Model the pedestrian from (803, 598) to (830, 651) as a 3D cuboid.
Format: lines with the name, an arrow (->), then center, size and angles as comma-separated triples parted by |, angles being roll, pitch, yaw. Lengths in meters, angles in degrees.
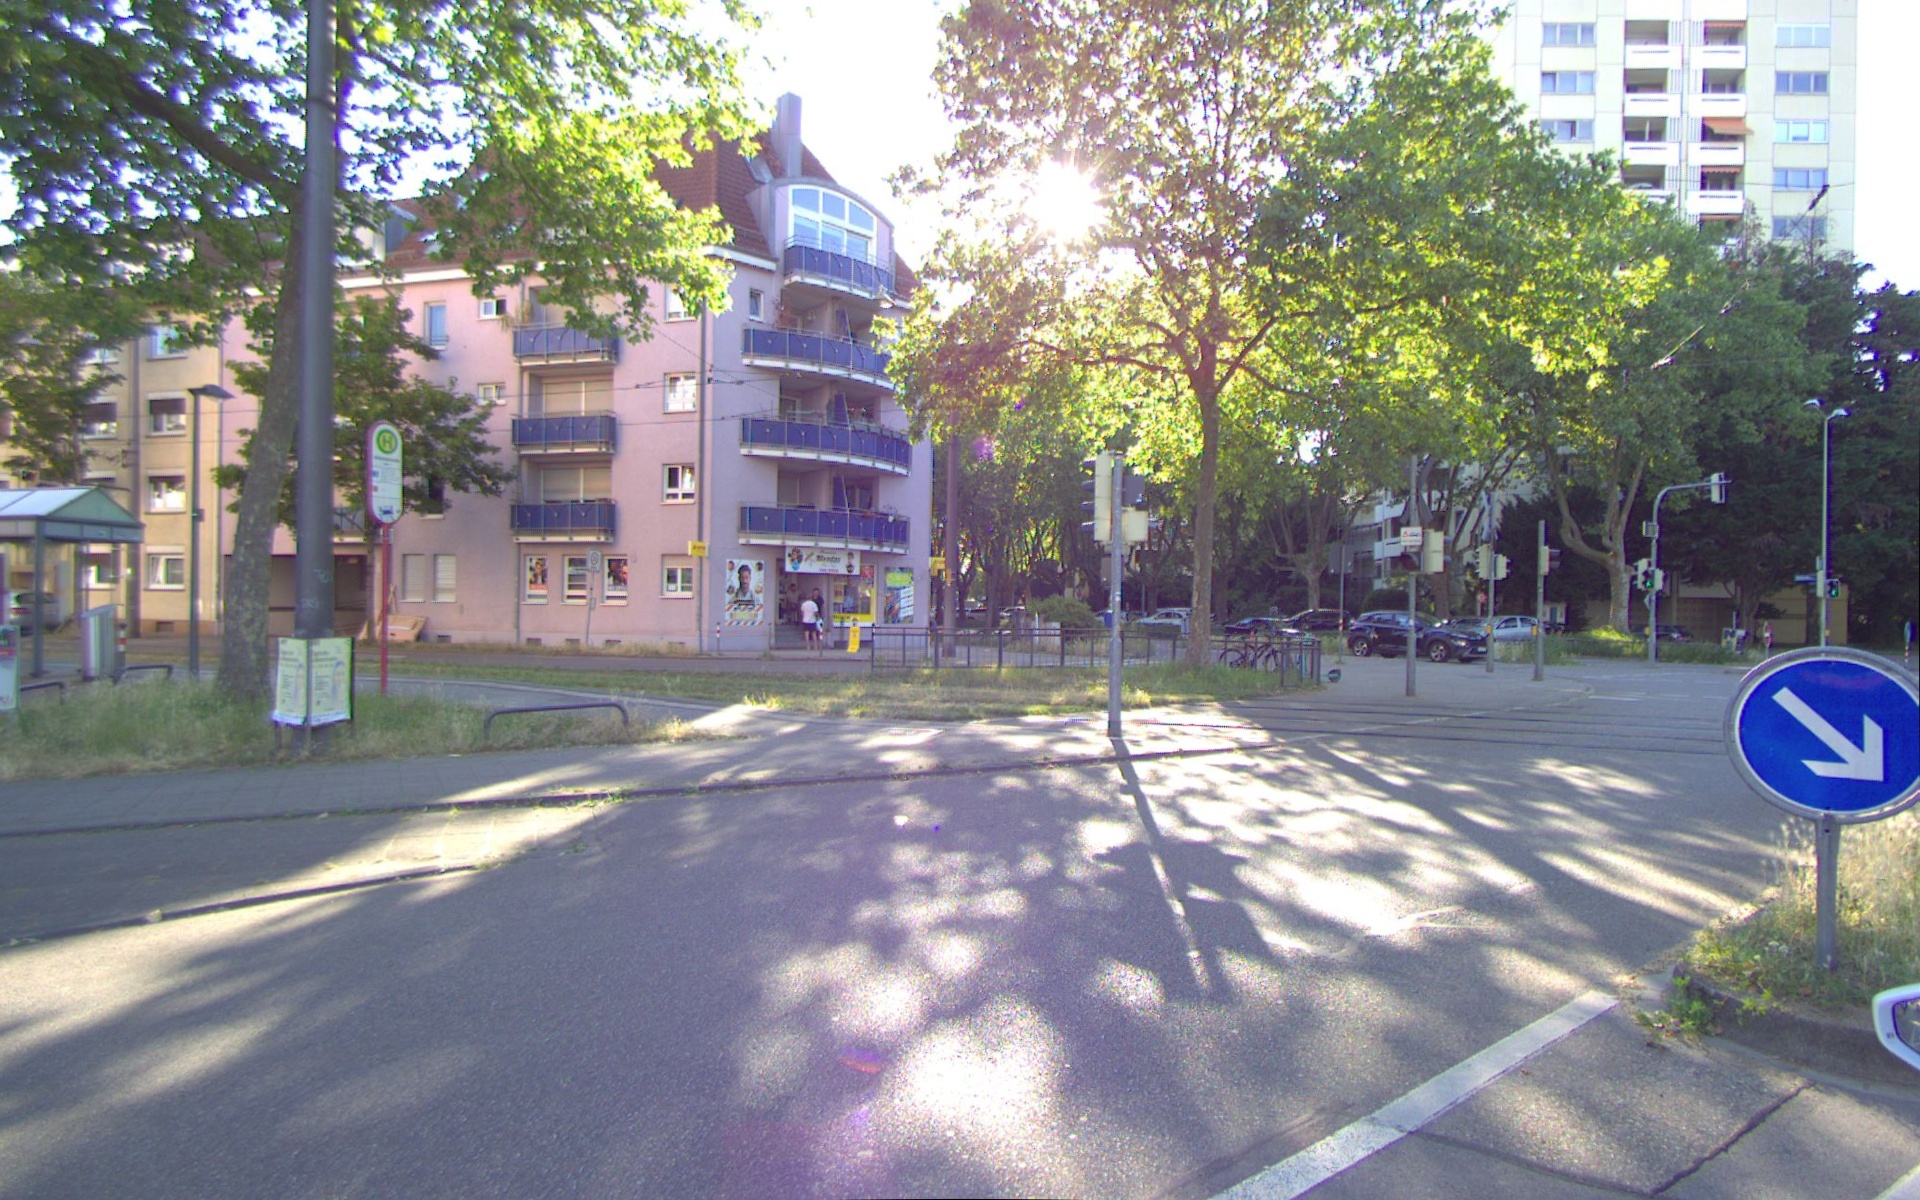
pedestrian -> -4.666, 0.784, 32.661 | 0.610, 1.689, 0.549 | 2, 0, 38

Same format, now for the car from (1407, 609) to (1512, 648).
car -> 22.843, 1.298, 46.030 | 3.921, 1.617, 1.738 | 2, 0, 0

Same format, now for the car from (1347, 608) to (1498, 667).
car -> 14.394, 1.129, 31.423 | 1.722, 1.617, 3.959 | 2, 0, -36

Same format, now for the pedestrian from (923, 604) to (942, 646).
pedestrian -> -1.118, 1.002, 40.464 | 0.543, 1.689, 0.617 | 2, 0, -20

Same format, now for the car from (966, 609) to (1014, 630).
car -> 2.611, 1.668, 86.364 | 3.919, 1.617, 1.739 | 2, 0, 9

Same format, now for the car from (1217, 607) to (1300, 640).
car -> 15.915, 1.240, 53.679 | 3.921, 1.617, 1.738 | 2, 0, 0

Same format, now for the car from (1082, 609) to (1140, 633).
car -> 11.086, 1.523, 73.896 | 3.921, 1.617, 1.738 | 2, 0, 0

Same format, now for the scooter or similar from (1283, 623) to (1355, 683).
scooter or similar -> 7.923, 1.161, 22.202 | 1.412, 1.255, 0.414 | 2, 0, 9

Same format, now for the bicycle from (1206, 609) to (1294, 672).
bicycle -> 6.401, 0.879, 22.243 | 1.811, 1.324, 0.382 | 2, 0, 34

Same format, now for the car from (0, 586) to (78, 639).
car -> -33.477, 0.393, 35.218 | 4.029, 1.728, 1.940 | 2, 0, 16

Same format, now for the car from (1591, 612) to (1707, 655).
car -> 31.619, 1.518, 46.199 | 1.971, 1.798, 3.979 | 2, 0, -22

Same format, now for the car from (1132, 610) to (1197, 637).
car -> 13.405, 1.551, 65.981 | 3.921, 1.617, 1.738 | 2, 0, 0

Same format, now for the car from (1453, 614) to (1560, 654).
car -> 23.881, 1.471, 43.980 | 3.732, 1.617, 1.738 | 2, 0, 0
